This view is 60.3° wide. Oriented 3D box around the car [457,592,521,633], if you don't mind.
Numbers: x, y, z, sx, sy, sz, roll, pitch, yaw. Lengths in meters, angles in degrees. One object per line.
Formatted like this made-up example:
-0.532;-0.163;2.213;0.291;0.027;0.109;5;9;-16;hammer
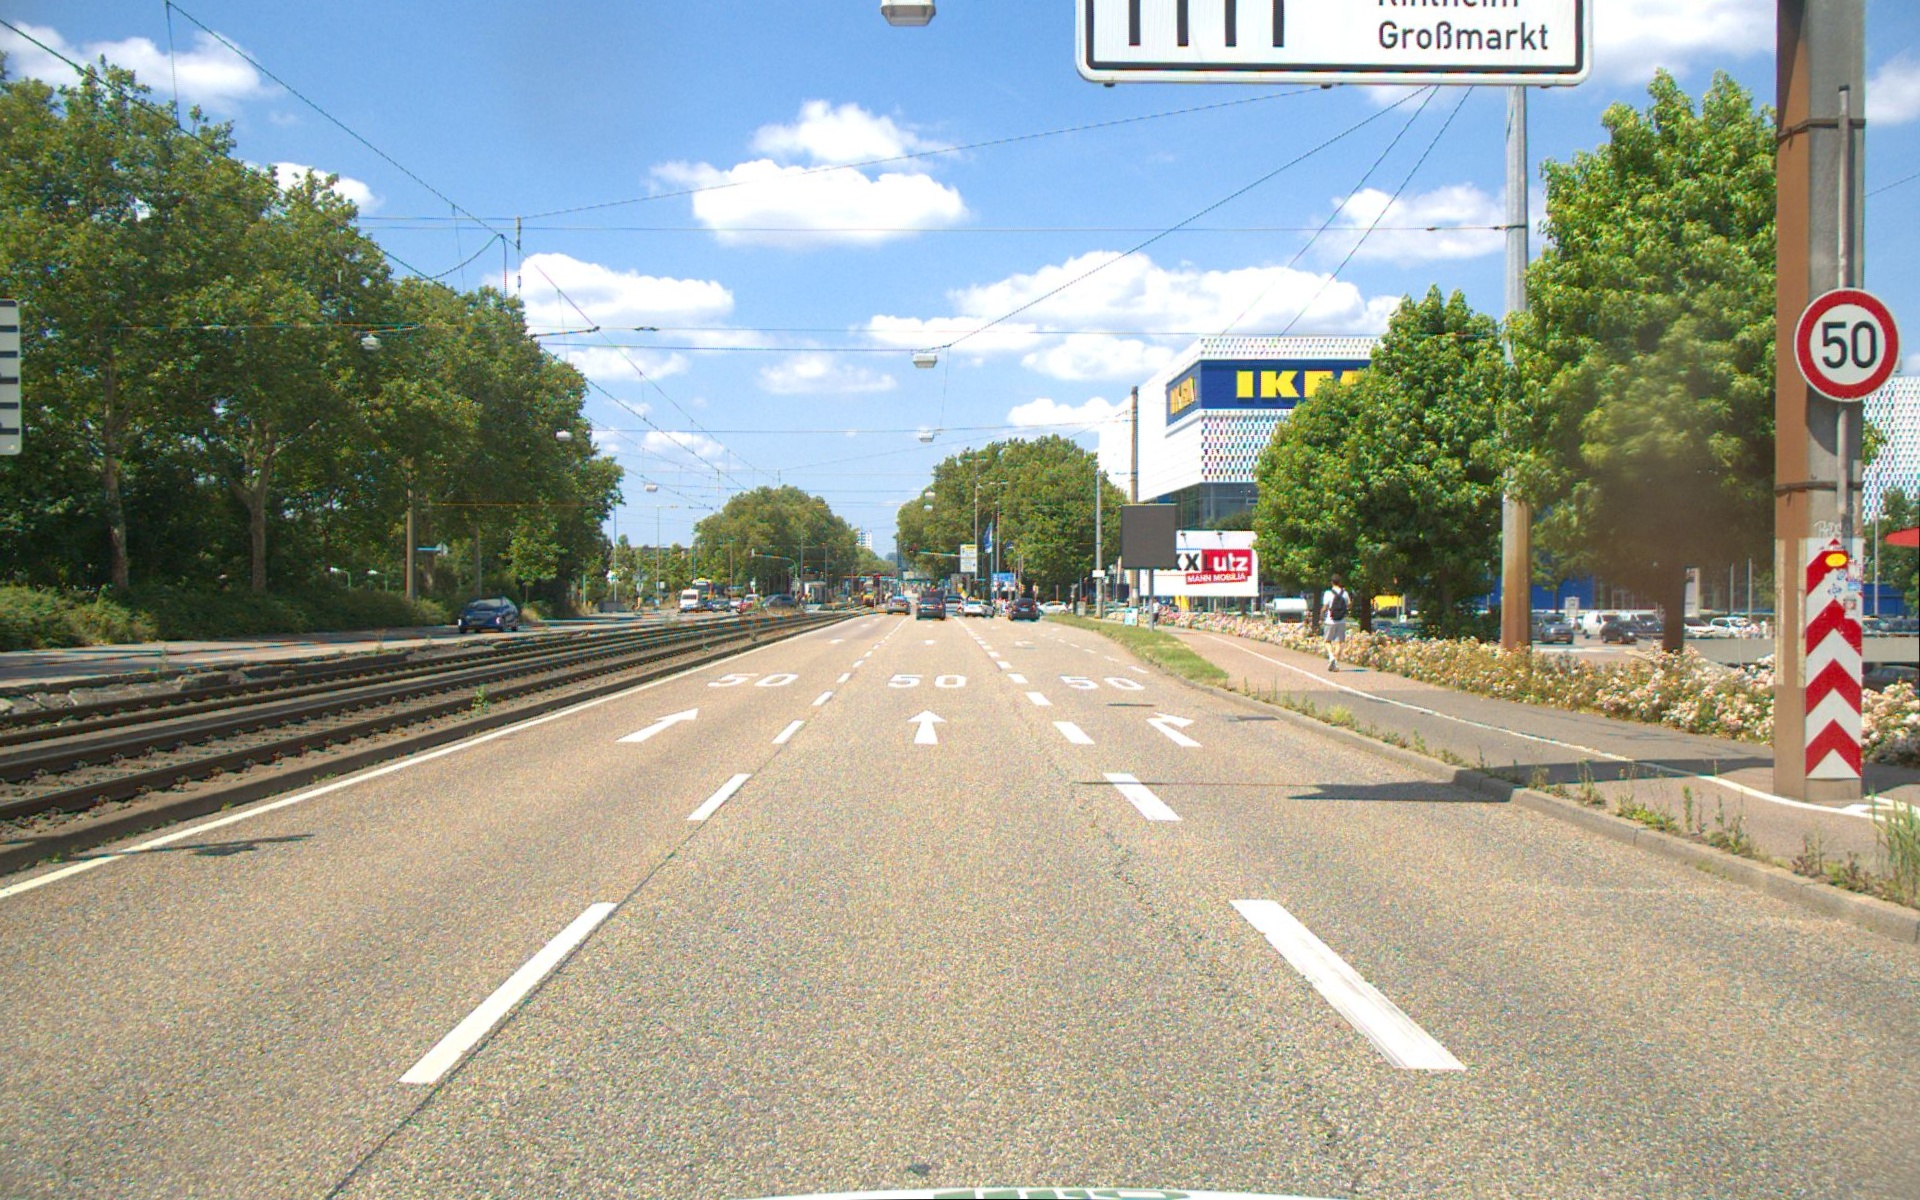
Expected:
-19.380;0.491;68.233;1.612;1.577;4.214;1;0;-3;car

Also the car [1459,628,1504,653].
34.144;2.646;108.348;1.539;1.508;3.886;1;0;-3;car

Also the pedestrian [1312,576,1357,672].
7.279;0.449;32.146;0.655;1.823;0.925;1;0;1;pedestrian

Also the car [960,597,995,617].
1.512;0.596;139.905;1.650;1.577;3.984;2;0;21;car

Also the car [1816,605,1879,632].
53.073;1.088;98.967;1.539;1.508;3.886;1;0;-3;car

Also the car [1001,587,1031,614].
3.909;0.016;115.222;1.861;1.837;3.976;1;0;-1;car

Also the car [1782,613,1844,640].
50.635;1.546;98.231;1.539;1.508;3.886;1;0;-3;car

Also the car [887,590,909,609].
-5.296;-0.043;141.472;1.805;1.577;3.775;1;0;-3;car

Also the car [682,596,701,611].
-29.839;0.341;183.759;1.590;1.577;3.702;1;0;-2;car

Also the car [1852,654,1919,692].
42.832;3.329;75.833;1.705;1.508;3.963;1;0;-1;car

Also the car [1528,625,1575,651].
38.776;2.469;108.544;1.539;1.508;3.886;1;0;-3;car

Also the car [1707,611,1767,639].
46.339;1.468;98.708;1.539;1.508;3.886;1;0;-3;car

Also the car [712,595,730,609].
-26.650;0.215;184.564;1.590;1.577;3.702;1;0;-2;car

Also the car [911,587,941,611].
-2.248;-0.079;108.553;1.838;1.566;3.775;1;0;-2;car

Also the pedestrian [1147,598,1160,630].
10.886;0.784;93.023;0.568;1.823;0.589;1;0;-3;pedestrian

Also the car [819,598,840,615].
-12.467;0.637;158.528;1.805;1.577;3.775;1;0;-3;car
